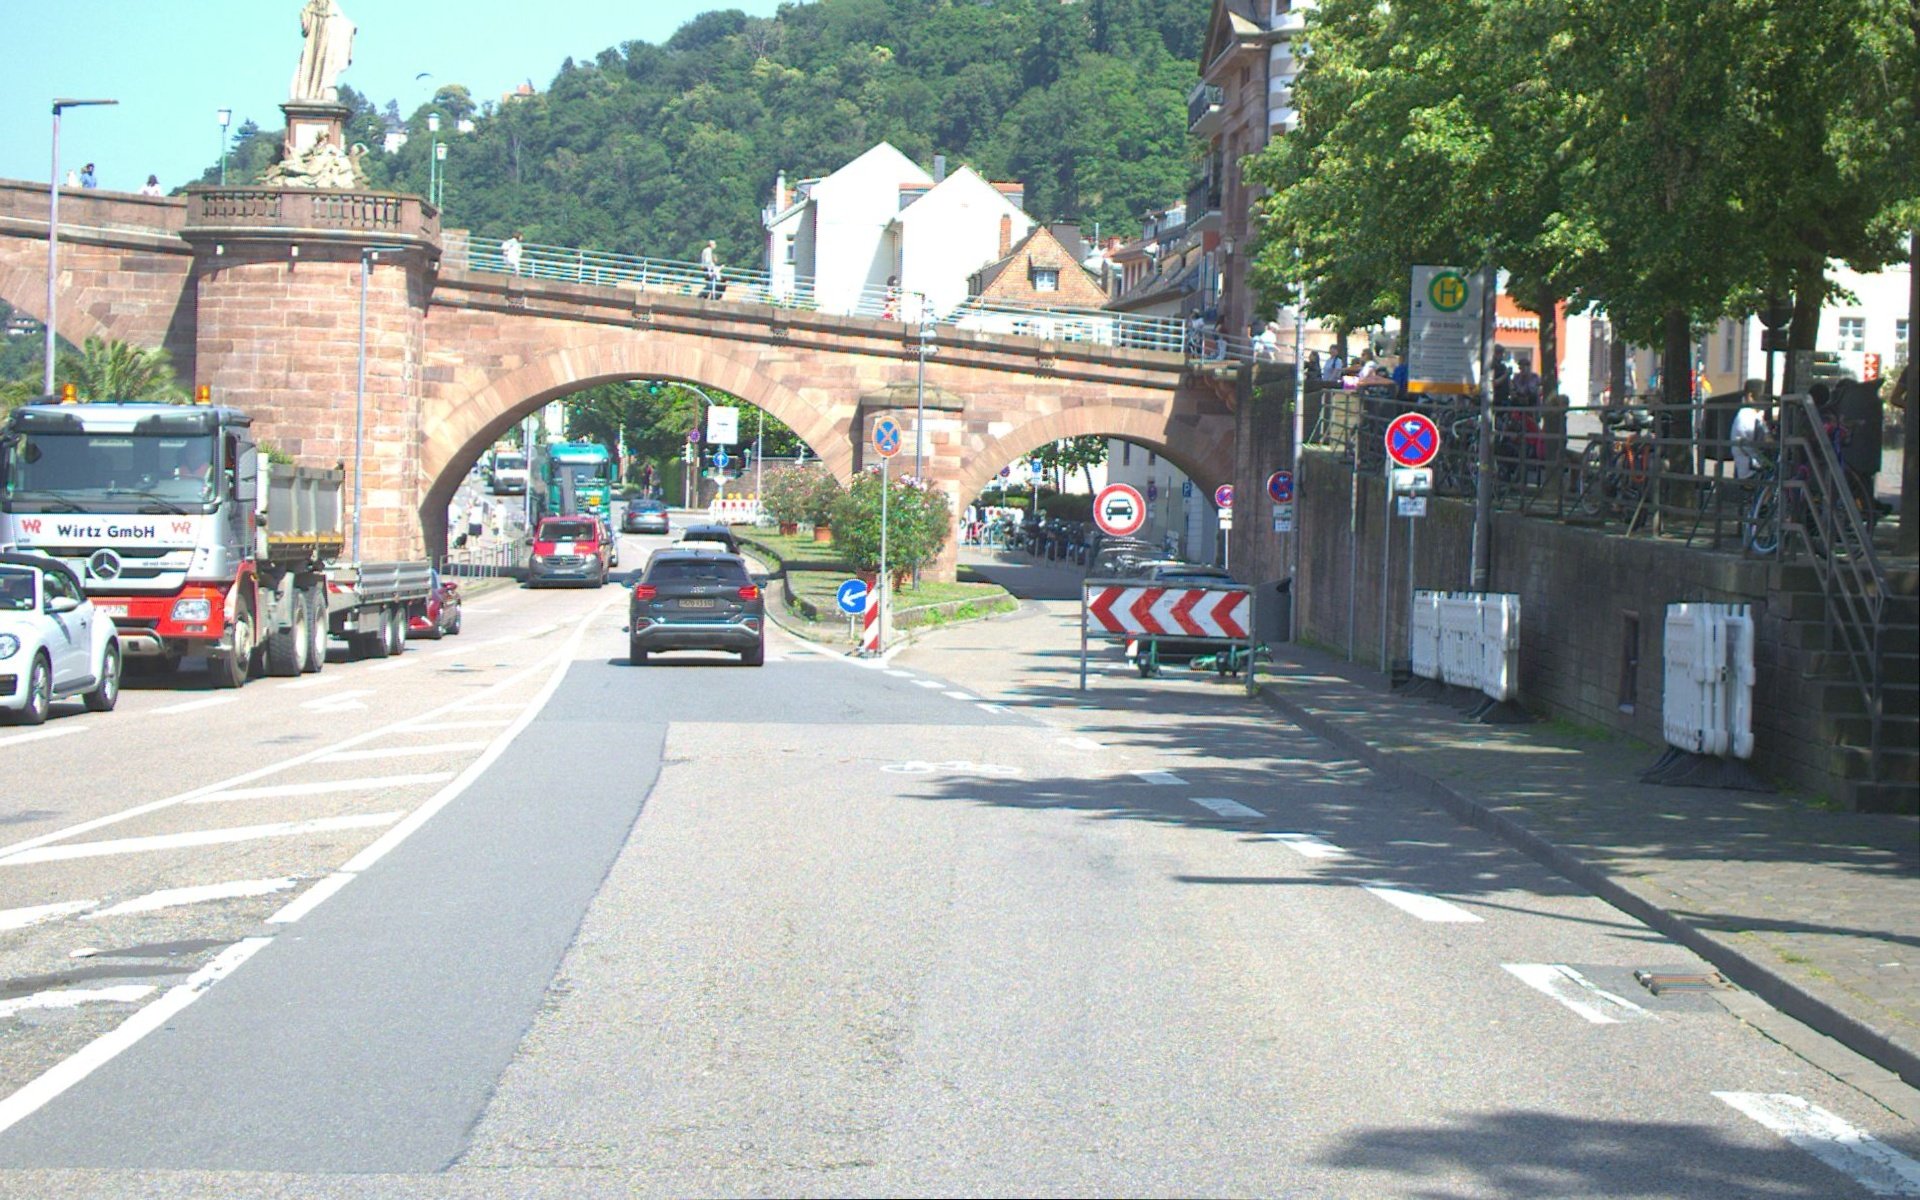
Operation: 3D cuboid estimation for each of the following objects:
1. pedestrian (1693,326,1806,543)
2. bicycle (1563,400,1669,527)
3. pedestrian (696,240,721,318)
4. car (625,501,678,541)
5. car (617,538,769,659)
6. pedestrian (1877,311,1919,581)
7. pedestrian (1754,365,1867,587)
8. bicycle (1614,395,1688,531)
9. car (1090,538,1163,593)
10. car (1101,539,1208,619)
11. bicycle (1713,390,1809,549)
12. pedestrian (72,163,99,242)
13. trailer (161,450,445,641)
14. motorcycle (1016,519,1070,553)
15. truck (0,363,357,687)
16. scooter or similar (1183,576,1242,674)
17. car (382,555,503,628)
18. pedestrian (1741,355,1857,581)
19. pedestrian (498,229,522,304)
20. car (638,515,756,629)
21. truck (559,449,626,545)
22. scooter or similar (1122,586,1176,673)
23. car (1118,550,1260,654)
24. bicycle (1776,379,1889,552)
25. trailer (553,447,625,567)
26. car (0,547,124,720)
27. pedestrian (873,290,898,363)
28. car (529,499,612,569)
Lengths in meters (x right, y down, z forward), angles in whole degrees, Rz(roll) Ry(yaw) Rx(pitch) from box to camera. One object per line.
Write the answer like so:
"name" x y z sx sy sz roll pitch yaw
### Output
"pedestrian" 6.363 -1.328 27.727 0.718 1.715 0.711 1 1 0
"bicycle" 5.868 -1.211 30.836 0.410 1.102 1.735 0 1 -7
"pedestrian" -6.708 -8.561 91.771 0.623 2.007 0.695 1 1 -2
"car" -12.904 -3.309 143.654 1.855 1.656 4.001 0 1 -10
"car" -3.575 -0.056 46.604 1.857 1.518 4.001 1 1 -2
"pedestrian" 8.005 -1.250 28.221 0.718 2.181 0.711 1 1 0
"pedestrian" 6.702 -0.973 27.113 0.718 1.715 0.573 1 1 0
"bicycle" 5.791 -1.135 28.861 0.410 1.102 1.734 1 1 5
"car" 4.906 -1.048 101.806 1.893 1.487 4.417 1 2 0
"car" 3.738 -0.432 66.488 1.710 1.452 3.548 2 1 -2
"bicycle" 5.748 -0.924 24.712 0.410 1.102 1.734 1 1 5
"pedestrian" -23.154 -10.527 91.073 0.623 2.007 0.695 1 1 -10
"trailer" -9.192 -0.761 48.871 2.697 2.522 6.947 0 1 0
"motorcycle" 3.152 -2.426 130.530 2.191 1.262 0.628 -1 3 -41
"truck" -9.139 -0.856 40.590 2.642 3.445 7.871 0 1 0
"scooter or similar" 3.241 0.309 44.026 0.532 1.226 1.270 1 1 14
"car" -8.848 -0.164 58.956 1.671 1.190 3.629 0 1 -2
"pedestrian" 6.460 -1.012 26.489 0.718 1.715 0.573 1 1 0
"pedestrian" -12.458 -9.222 95.139 0.581 2.007 0.586 1 1 -3
"car" -4.794 -0.542 63.174 1.993 2.007 4.001 1 1 -2
"truck" -14.788 -4.183 138.621 2.523 3.735 6.248 0 3 -5
"scooter or similar" 2.428 0.368 44.058 0.532 1.086 1.438 1 1 9
"car" 3.417 -0.005 52.053 1.843 1.445 4.535 2 1 0
"bicycle" 5.824 -0.885 23.020 0.410 1.102 1.924 1 1 5
"trailer" -10.459 -2.630 97.124 1.741 3.309 3.384 0 1 -2
"car" -8.876 0.245 30.784 1.777 1.439 3.997 1 1 0
"pedestrian" -2.112 -7.738 97.313 0.684 2.007 0.586 1 1 -3
"car" -10.352 -1.783 91.621 1.874 1.821 4.545 0 2 -2
